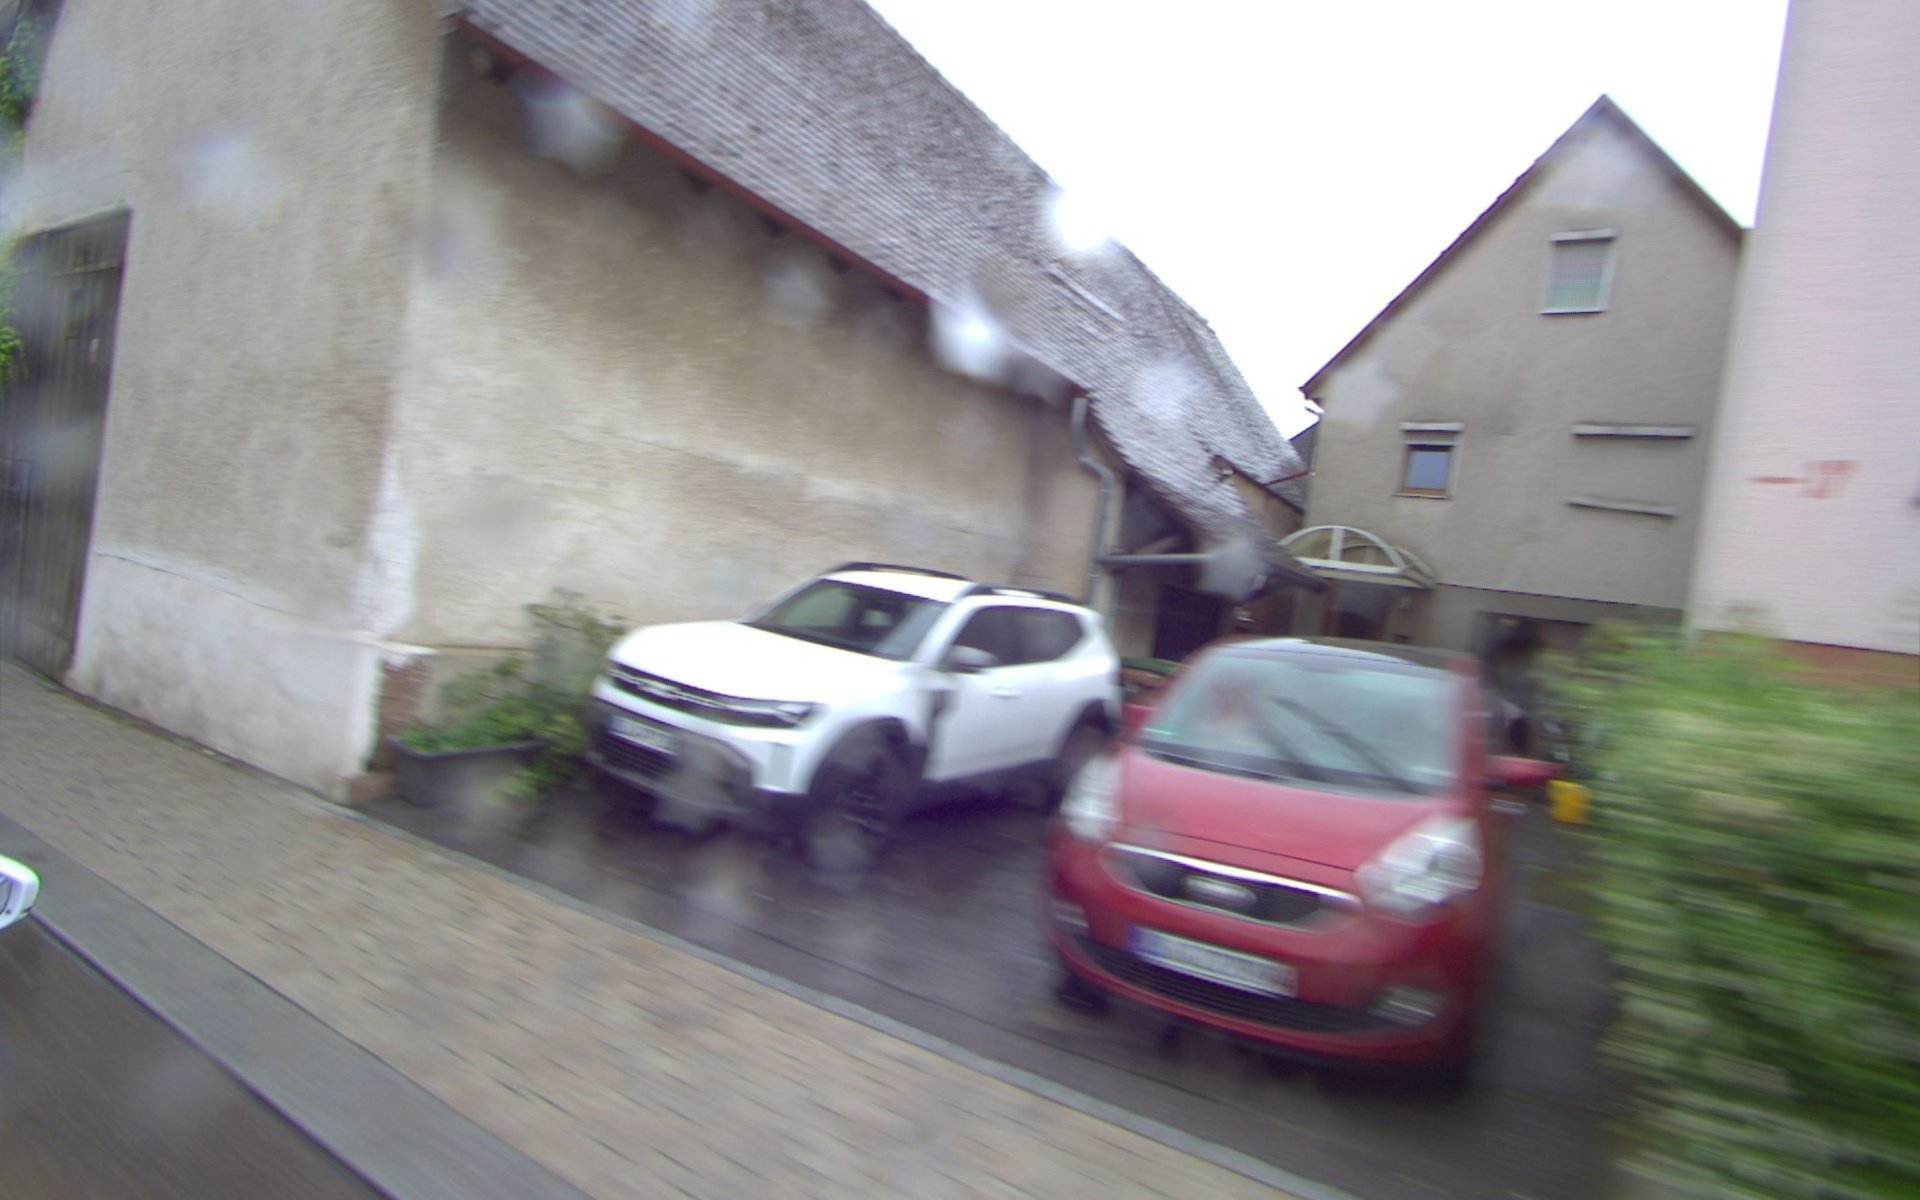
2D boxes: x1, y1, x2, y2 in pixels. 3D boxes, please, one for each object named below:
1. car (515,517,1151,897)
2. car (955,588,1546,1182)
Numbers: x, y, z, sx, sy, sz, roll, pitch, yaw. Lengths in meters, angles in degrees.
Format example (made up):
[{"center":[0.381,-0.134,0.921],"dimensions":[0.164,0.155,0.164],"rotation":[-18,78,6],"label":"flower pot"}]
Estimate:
[{"center":[-0.502,0.579,6.908],"dimensions":[1.873,1.670,4.217],"rotation":[7,1,35],"label":"car"},{"center":[1.863,0.941,5.155],"dimensions":[1.767,1.587,4.113],"rotation":[7,1,31],"label":"car"}]
